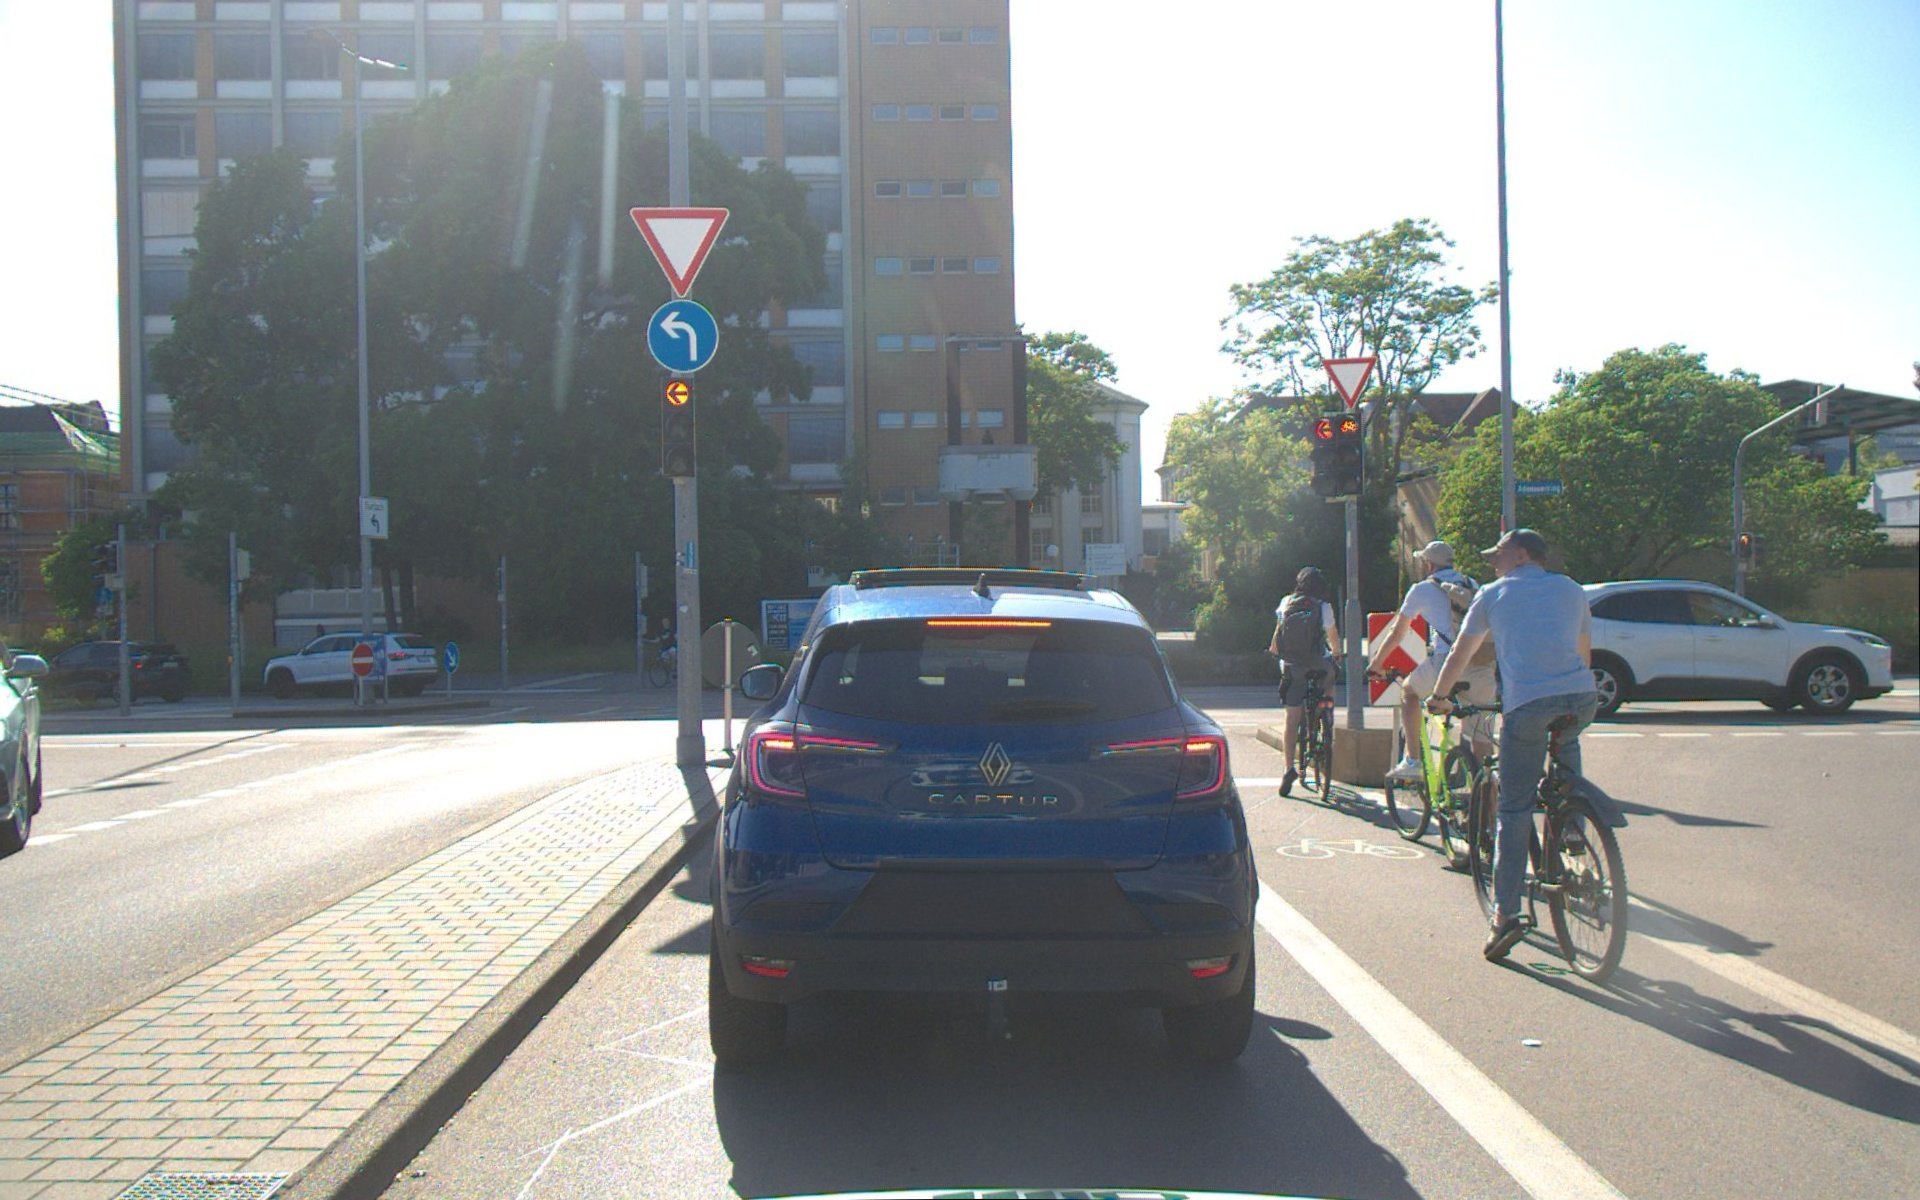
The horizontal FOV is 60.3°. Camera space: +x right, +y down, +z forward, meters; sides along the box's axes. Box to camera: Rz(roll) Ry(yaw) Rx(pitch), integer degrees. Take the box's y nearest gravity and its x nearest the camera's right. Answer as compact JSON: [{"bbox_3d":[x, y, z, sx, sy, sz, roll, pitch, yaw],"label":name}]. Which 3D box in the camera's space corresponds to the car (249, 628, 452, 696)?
[{"bbox_3d":[-15.736,1.605,42.755,4.721,1.660,1.845,-1,0,15],"label":"car"}]

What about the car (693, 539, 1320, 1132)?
[{"bbox_3d":[0.058,0.670,6.679,1.767,1.660,3.998,1,0,-3],"label":"car"}]

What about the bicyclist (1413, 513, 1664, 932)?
[{"bbox_3d":[2.505,0.501,7.268,0.736,1.698,1.016,1,0,0],"label":"bicyclist"}]

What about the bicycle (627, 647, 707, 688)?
[{"bbox_3d":[-7.721,1.768,43.617,1.982,0.981,0.593,-1,0,-28],"label":"bicycle"}]

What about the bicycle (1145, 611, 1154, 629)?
[{"bbox_3d":[10.795,1.150,94.220,0.397,0.990,1.684,1,0,3],"label":"bicycle"}]

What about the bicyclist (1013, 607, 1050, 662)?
[{"bbox_3d":[1.946,0.932,44.962,0.916,1.454,0.599,-1,0,8],"label":"bicyclist"}]

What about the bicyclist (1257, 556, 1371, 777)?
[{"bbox_3d":[2.757,0.503,12.973,0.711,1.657,0.969,1,0,3],"label":"bicyclist"}]

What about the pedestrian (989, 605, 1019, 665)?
[{"bbox_3d":[1.232,0.974,46.256,0.721,1.631,0.599,-1,0,12],"label":"pedestrian"}]

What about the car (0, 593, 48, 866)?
[{"bbox_3d":[-7.286,0.835,11.290,1.768,1.609,4.217,-3,0,-29],"label":"car"}]

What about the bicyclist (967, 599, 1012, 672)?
[{"bbox_3d":[0.789,0.948,43.972,1.078,1.900,0.653,-1,0,10],"label":"bicyclist"}]

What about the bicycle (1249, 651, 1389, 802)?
[{"bbox_3d":[2.758,0.938,12.921,0.723,1.012,2.174,1,0,3],"label":"bicycle"}]

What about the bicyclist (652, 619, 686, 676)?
[{"bbox_3d":[-7.673,1.244,43.643,0.728,1.466,0.593,-1,0,-27],"label":"bicyclist"}]

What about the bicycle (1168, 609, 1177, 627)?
[{"bbox_3d":[12.156,1.028,94.565,0.397,0.990,1.684,1,0,3],"label":"bicycle"}]

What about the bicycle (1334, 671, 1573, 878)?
[{"bbox_3d":[2.868,0.980,9.842,0.646,1.020,1.967,1,0,-6],"label":"bicycle"}]

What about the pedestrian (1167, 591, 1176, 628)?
[{"bbox_3d":[11.827,0.544,92.560,0.465,2.049,0.468,-1,0,5],"label":"pedestrian"}]

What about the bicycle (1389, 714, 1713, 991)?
[{"bbox_3d":[2.500,1.026,7.271,0.725,0.911,1.978,1,0,0],"label":"bicycle"}]

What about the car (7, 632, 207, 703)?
[{"bbox_3d":[-21.075,1.652,40.901,4.280,1.660,1.845,-1,0,16],"label":"car"}]

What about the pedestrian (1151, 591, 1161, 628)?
[{"bbox_3d":[10.797,0.521,91.193,0.465,2.049,0.523,-1,0,5],"label":"pedestrian"}]

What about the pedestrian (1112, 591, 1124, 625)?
[{"bbox_3d":[9.014,0.452,94.286,0.610,1.888,0.563,-1,0,2],"label":"pedestrian"}]

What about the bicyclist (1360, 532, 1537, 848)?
[{"bbox_3d":[2.880,0.511,9.839,0.633,1.769,1.065,1,0,-6],"label":"bicyclist"}]

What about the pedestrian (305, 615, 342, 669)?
[{"bbox_3d":[-20.004,1.318,51.989,0.842,1.598,0.560,-4,0,16],"label":"pedestrian"}]

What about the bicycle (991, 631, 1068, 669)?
[{"bbox_3d":[1.893,1.351,44.964,2.032,0.981,0.599,-1,0,9],"label":"bicycle"}]

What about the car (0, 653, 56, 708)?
[{"bbox_3d":[-27.199,2.218,45.745,3.755,1.460,1.743,-1,-2,18],"label":"car"}]

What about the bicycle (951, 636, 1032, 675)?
[{"bbox_3d":[0.837,1.484,43.954,2.037,0.946,0.697,-2,1,10],"label":"bicycle"}]

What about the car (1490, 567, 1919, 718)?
[{"bbox_3d":[9.237,0.560,20.820,4.586,1.647,1.845,-2,-3,9],"label":"car"}]

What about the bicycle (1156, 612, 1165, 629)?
[{"bbox_3d":[11.405,1.160,94.186,0.397,0.990,1.684,1,0,3],"label":"bicycle"}]

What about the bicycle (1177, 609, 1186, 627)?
[{"bbox_3d":[12.681,1.037,94.587,0.397,0.990,1.684,1,0,3],"label":"bicycle"}]
